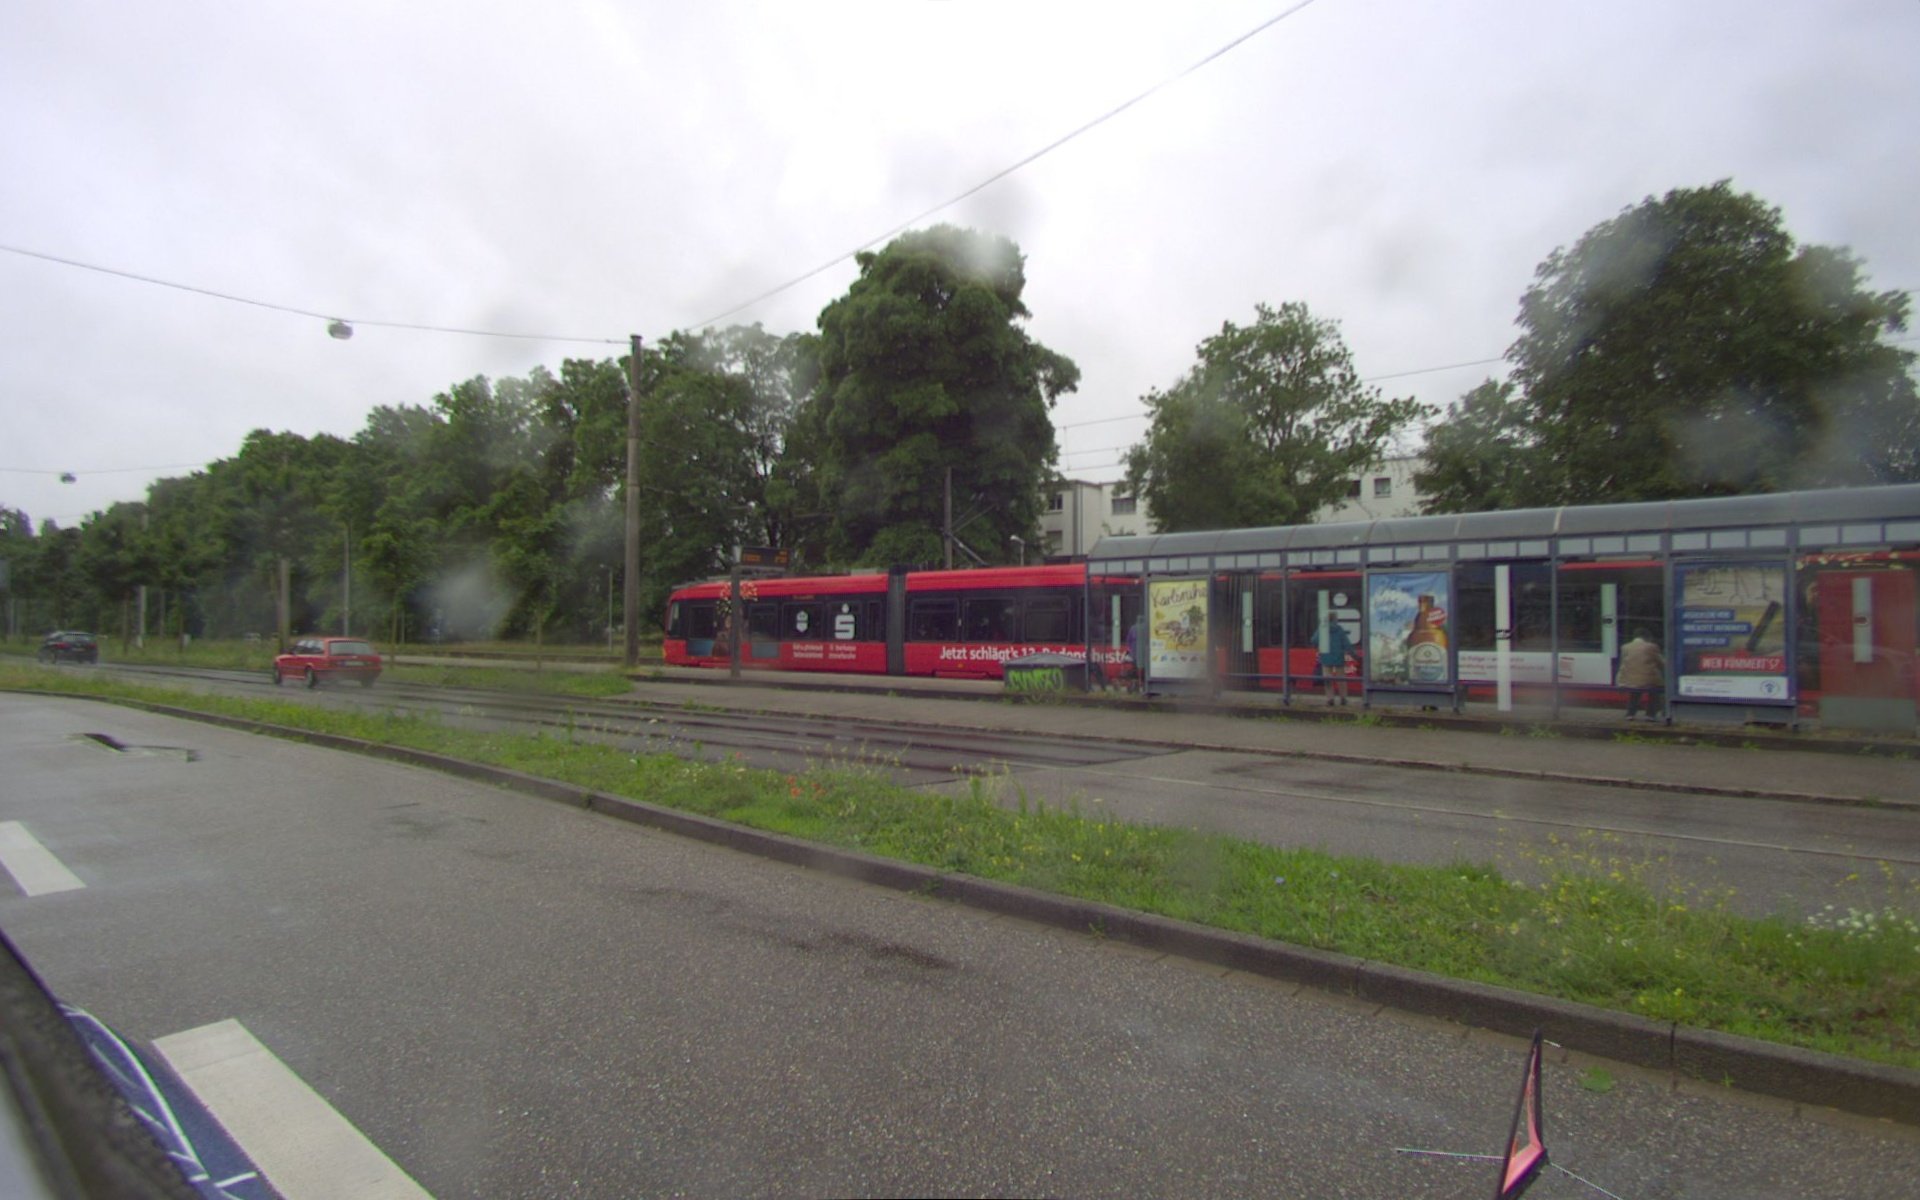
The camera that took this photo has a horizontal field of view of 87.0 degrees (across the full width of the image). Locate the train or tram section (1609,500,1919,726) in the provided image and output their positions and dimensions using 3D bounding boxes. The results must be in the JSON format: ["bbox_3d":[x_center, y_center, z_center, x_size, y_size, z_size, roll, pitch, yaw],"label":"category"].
[{"bbox_3d":[16.137,0.224,16.177,9.273,3.415,3.496,-2,-3,41],"label":"train or tram section"}]

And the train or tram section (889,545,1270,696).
[{"bbox_3d":[2.901,0.619,27.821,10.256,3.427,3.496,-2,-3,41],"label":"train or tram section"}]

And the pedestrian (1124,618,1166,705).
[{"bbox_3d":[3.455,1.133,18.902,0.437,1.574,0.603,-1,0,-35],"label":"pedestrian"}]

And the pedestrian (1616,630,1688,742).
[{"bbox_3d":[9.374,1.146,13.714,0.699,1.464,0.618,-2,-3,43],"label":"pedestrian"}]

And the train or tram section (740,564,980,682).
[{"bbox_3d":[-3.452,0.810,33.440,7.899,3.438,3.496,-2,-3,41],"label":"train or tram section"}]

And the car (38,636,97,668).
[{"bbox_3d":[-44.132,2.561,50.020,3.819,1.448,1.718,-1,-1,41],"label":"car"}]

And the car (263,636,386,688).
[{"bbox_3d":[-18.204,1.752,28.915,4.247,1.371,1.663,-2,-4,39],"label":"car"}]

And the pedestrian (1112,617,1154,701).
[{"bbox_3d":[3.331,1.121,19.508,0.514,1.574,0.603,-1,0,-35],"label":"pedestrian"}]

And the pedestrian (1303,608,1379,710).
[{"bbox_3d":[6.296,0.956,16.732,0.929,1.609,0.795,-2,-2,43],"label":"pedestrian"}]

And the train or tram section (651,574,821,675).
[{"bbox_3d":[-8.397,0.952,37.786,5.767,3.444,3.496,-2,-3,41],"label":"train or tram section"}]

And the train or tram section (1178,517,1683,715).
[{"bbox_3d":[9.700,0.421,21.831,9.273,3.416,3.496,-2,-3,41],"label":"train or tram section"}]
